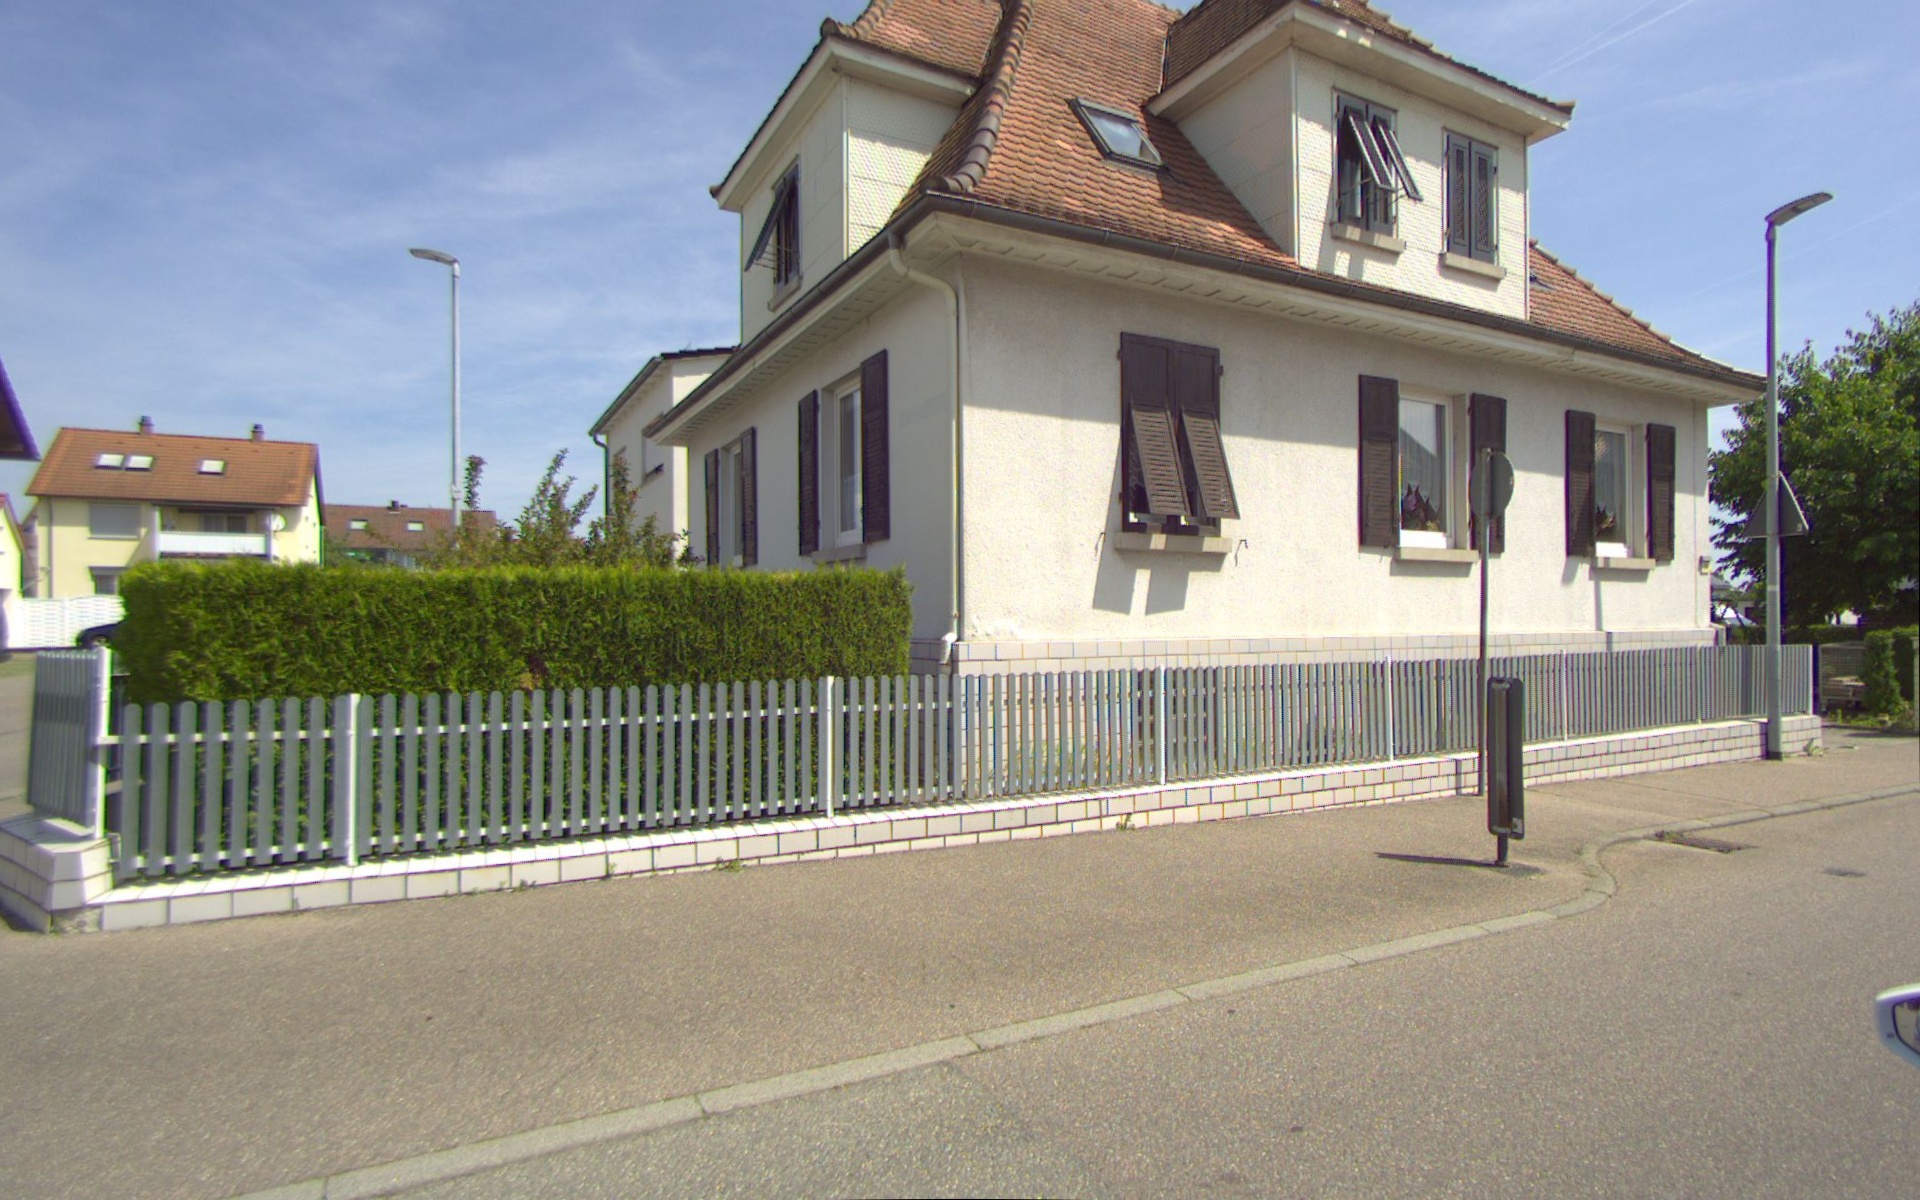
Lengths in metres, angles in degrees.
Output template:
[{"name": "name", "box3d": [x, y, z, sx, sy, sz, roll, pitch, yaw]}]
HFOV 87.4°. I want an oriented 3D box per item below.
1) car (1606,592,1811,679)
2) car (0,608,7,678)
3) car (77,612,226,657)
[{"name": "car", "box3d": [23.278, 1.091, 31.442, 1.942, 2.525, 4.781, 1, -2, -30]}, {"name": "car", "box3d": [-22.300, 0.892, 21.046, 3.083, 1.545, 1.224, 2, -1, -23]}, {"name": "car", "box3d": [-26.773, 1.117, 33.388, 3.617, 1.408, 1.454, 1, 0, -29]}]
